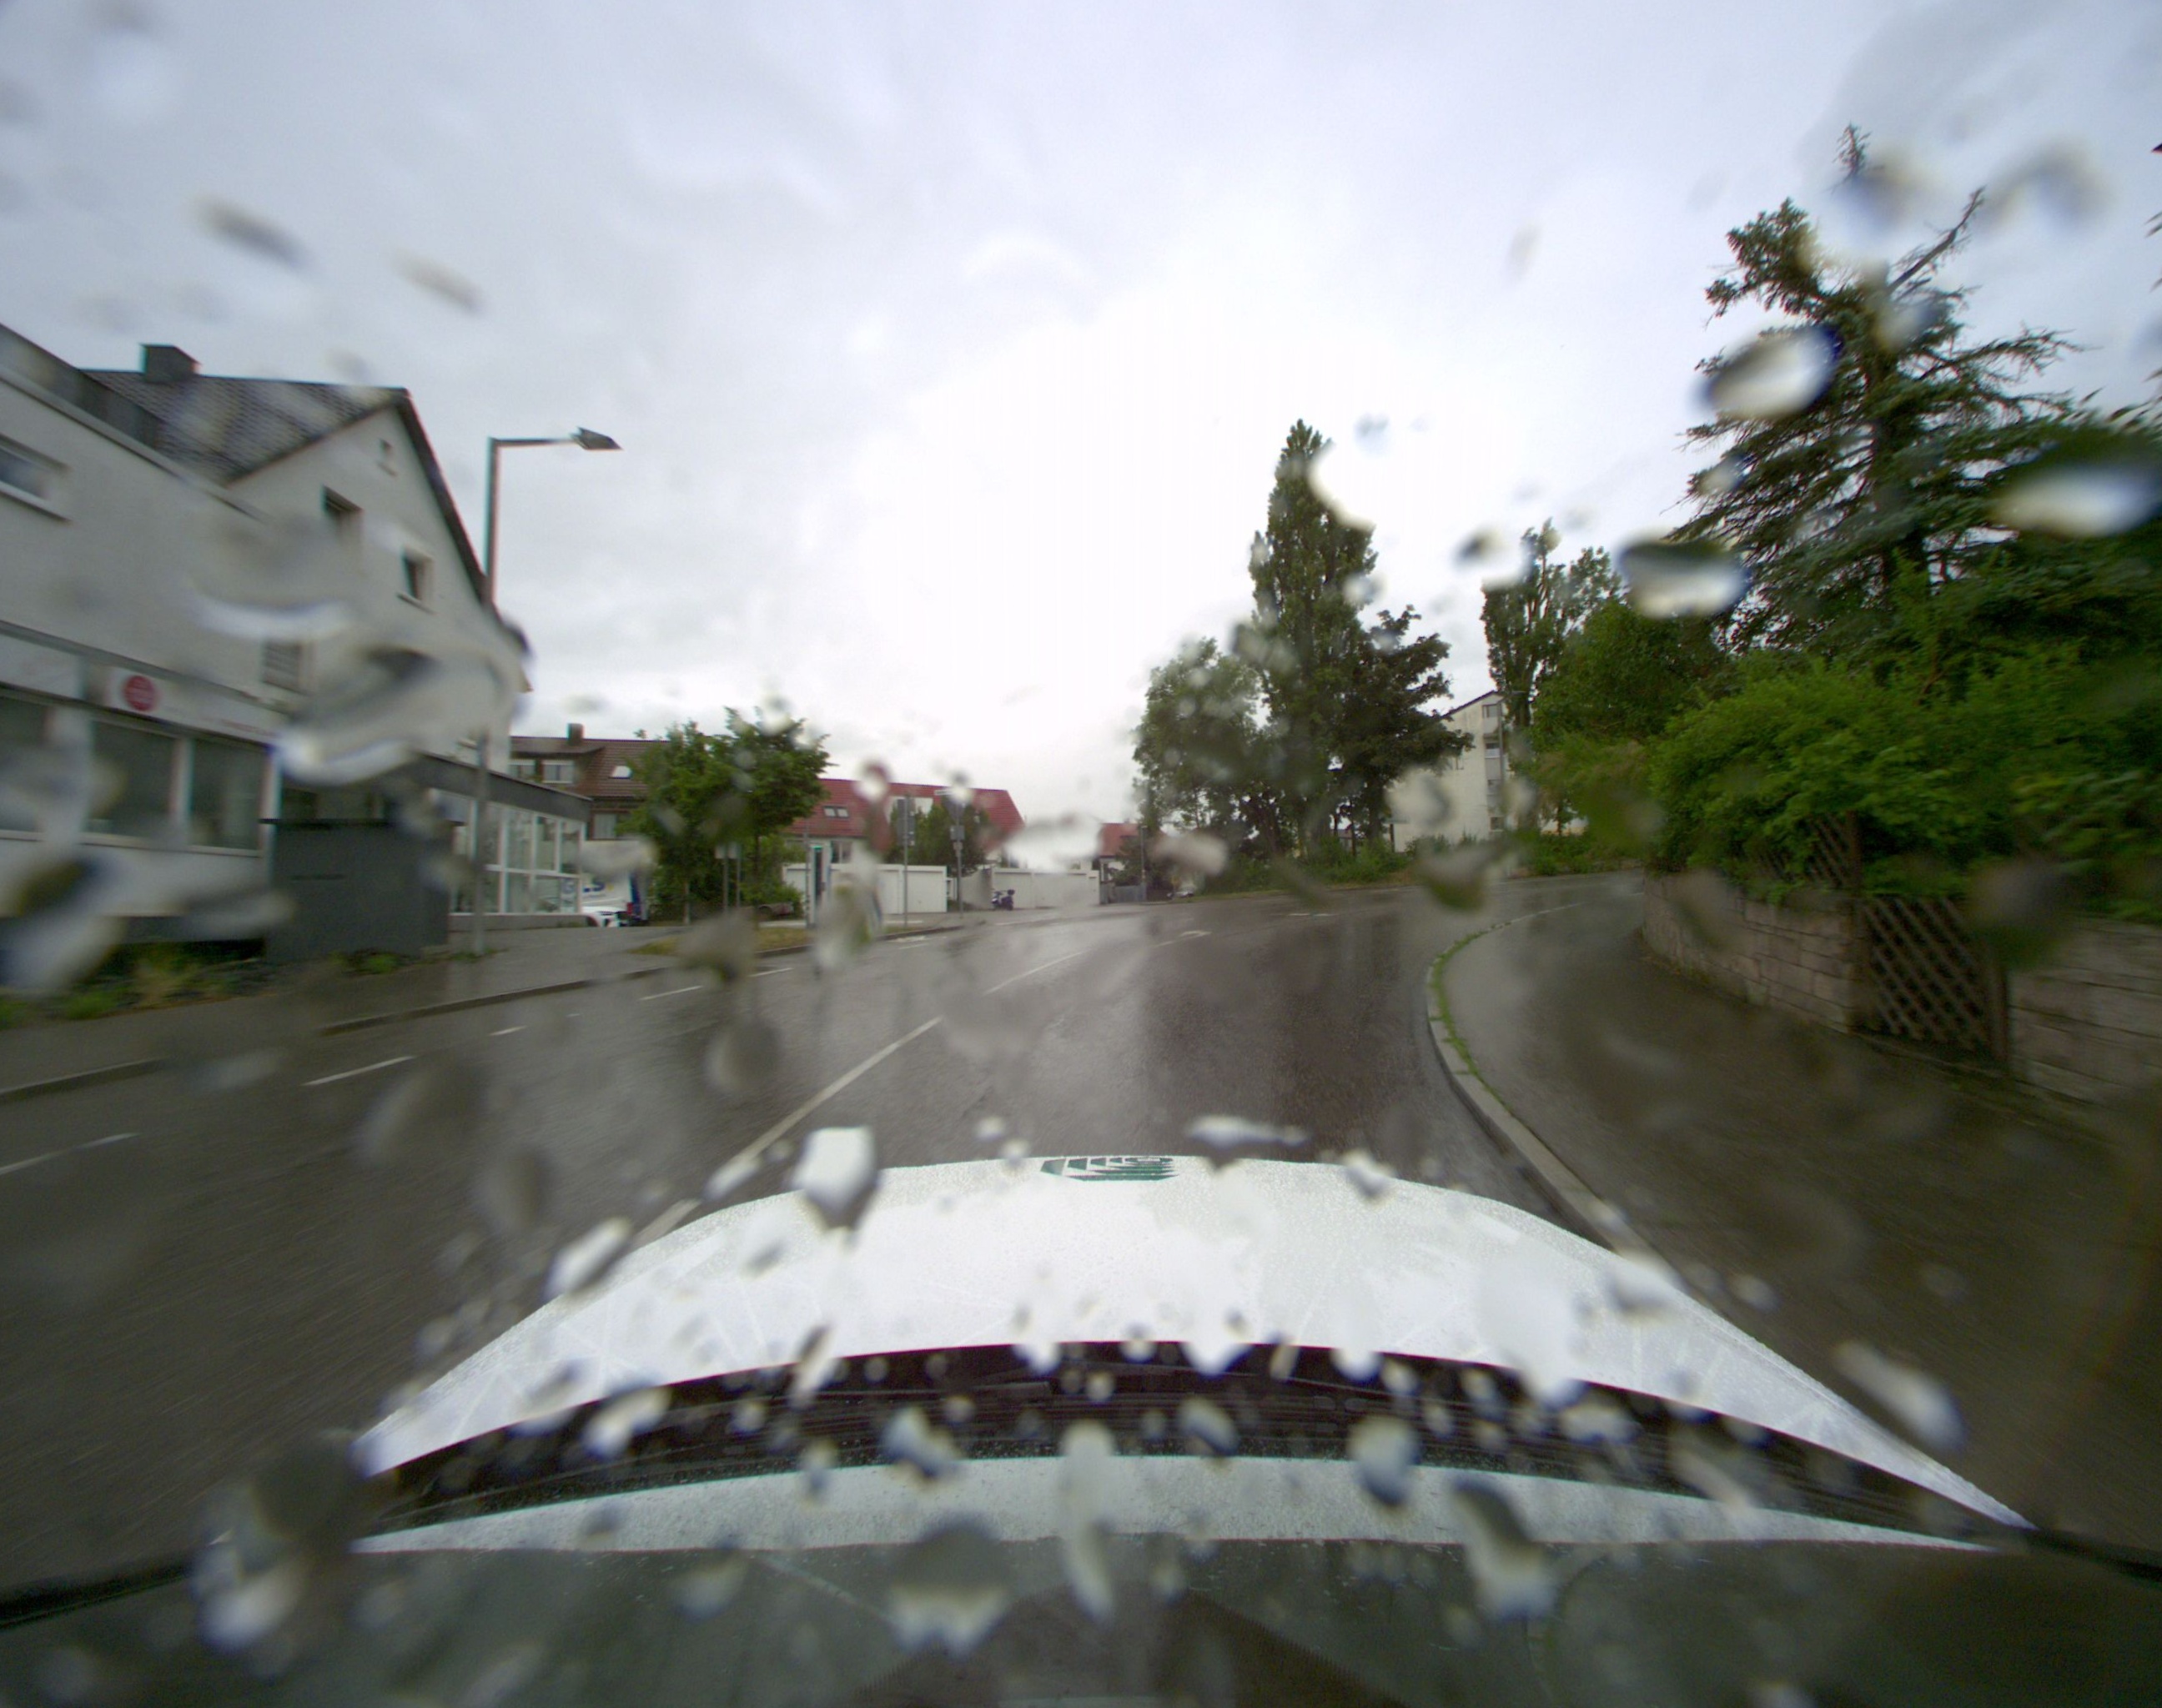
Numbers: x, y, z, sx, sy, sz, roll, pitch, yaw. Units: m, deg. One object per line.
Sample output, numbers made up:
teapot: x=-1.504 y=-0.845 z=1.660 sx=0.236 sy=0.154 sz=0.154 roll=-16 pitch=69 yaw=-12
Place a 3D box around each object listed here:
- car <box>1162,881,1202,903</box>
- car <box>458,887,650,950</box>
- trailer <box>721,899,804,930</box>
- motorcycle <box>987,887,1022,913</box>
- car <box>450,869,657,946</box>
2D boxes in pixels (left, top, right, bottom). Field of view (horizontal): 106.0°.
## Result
car: x=8.088 y=3.027 z=65.182 sx=1.975 sy=1.508 sz=4.023 roll=-4 pitch=-2 yaw=25
car: x=-17.036 y=2.044 z=26.577 sx=4.777 sy=1.706 sz=2.061 roll=-3 pitch=-2 yaw=-9
trailer: x=-13.052 y=2.470 z=33.483 sx=2.811 sy=1.007 sz=1.589 roll=-3 pitch=-1 yaw=-7
motorcycle: x=-4.239 y=2.558 z=45.406 sx=0.700 sy=1.322 sz=2.059 roll=-4 pitch=-3 yaw=36
car: x=-20.169 y=2.003 z=31.480 sx=6.240 sy=2.523 sz=2.181 roll=-3 pitch=-2 yaw=-13
